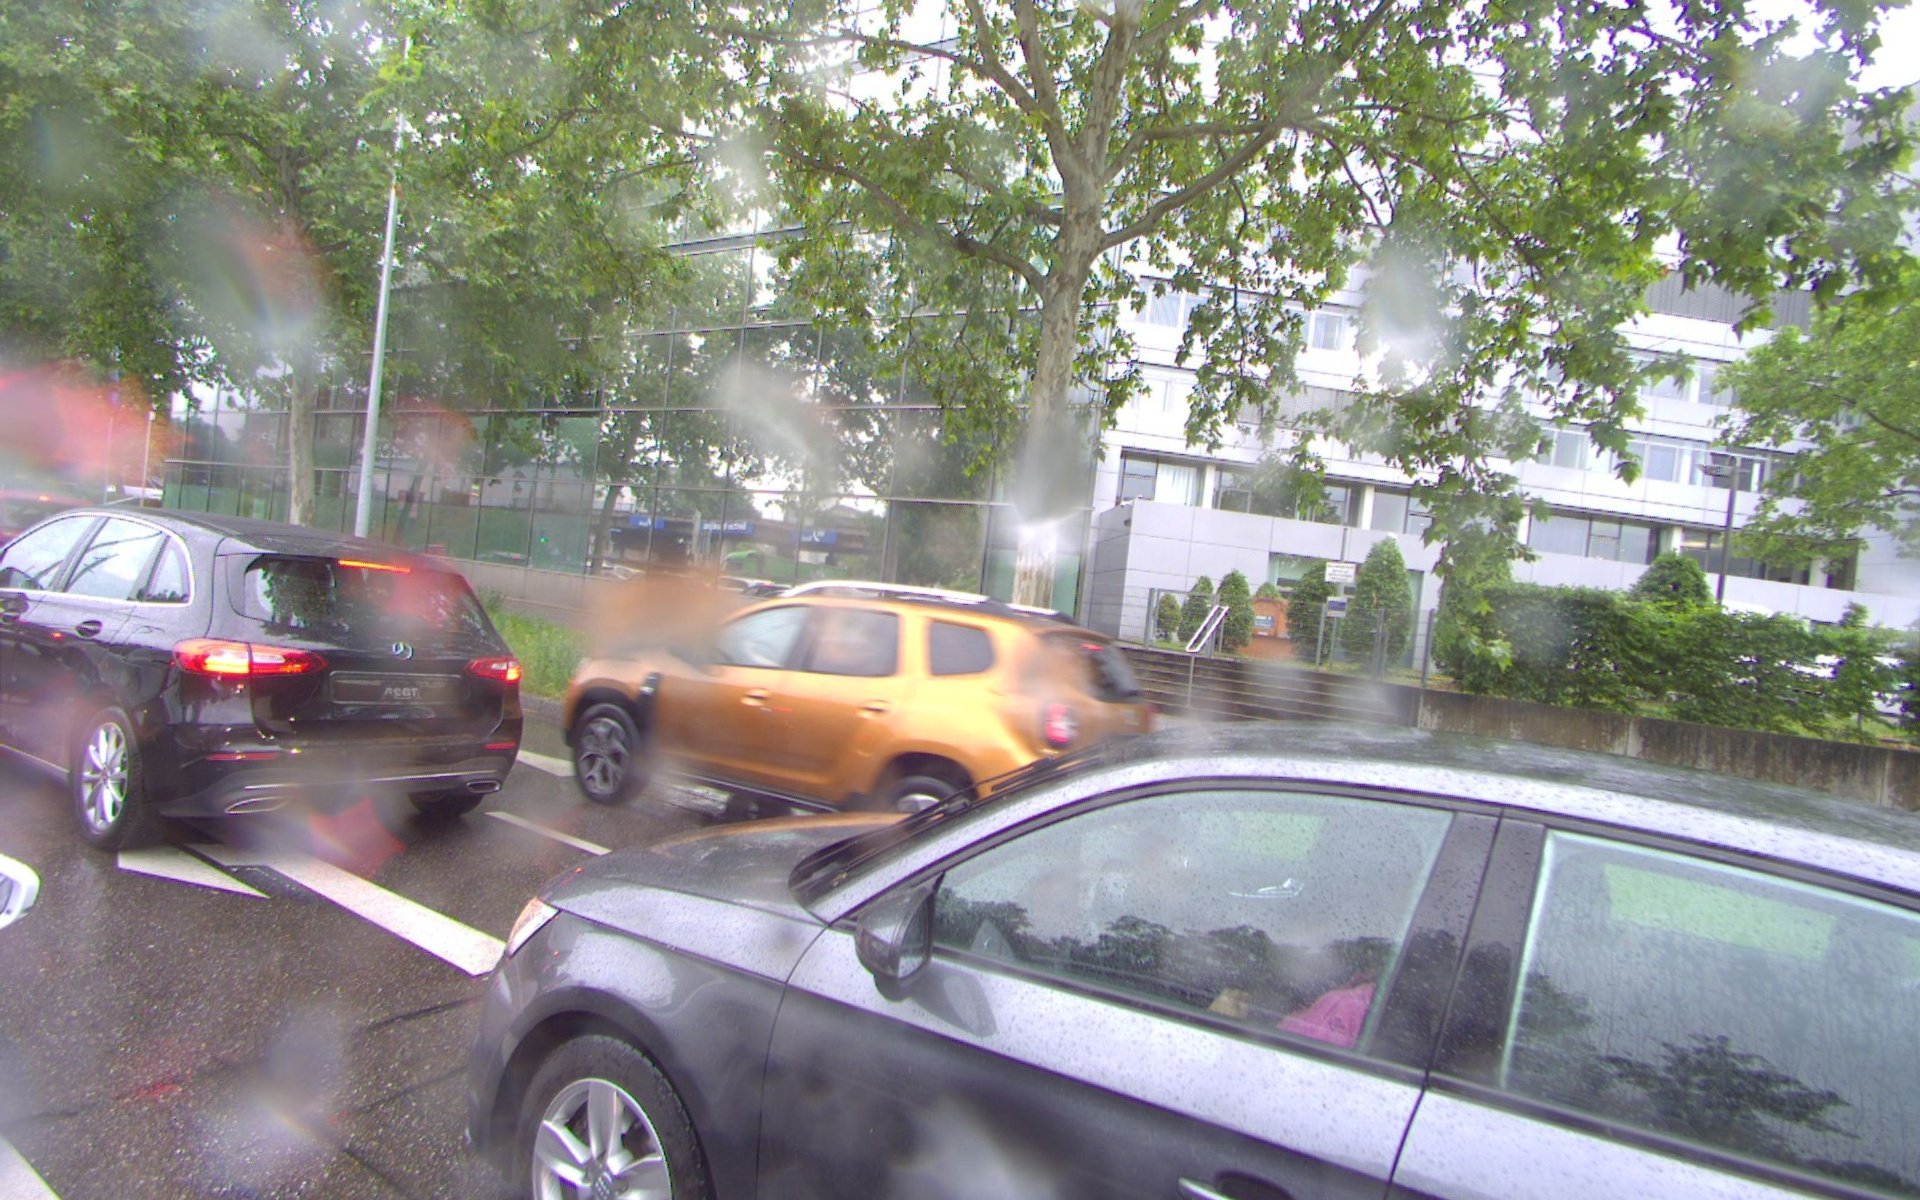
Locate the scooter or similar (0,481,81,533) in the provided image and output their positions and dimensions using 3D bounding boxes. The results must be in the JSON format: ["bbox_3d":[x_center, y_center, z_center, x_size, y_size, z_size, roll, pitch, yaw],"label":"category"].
[{"bbox_3d":[-54.535,-5.514,58.139,5.228,2.476,1.893,7,0,-9],"label":"scooter or similar"}]

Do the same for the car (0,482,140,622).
[{"bbox_3d":[-14.075,-0.801,14.793,4.201,1.714,1.714,6,-2,32],"label":"car"}]

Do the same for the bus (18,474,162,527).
[{"bbox_3d":[-82.702,-9.389,96.118,2.436,3.465,12.012,7,0,4],"label":"bus"}]

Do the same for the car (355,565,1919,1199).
[{"bbox_3d":[0.668,0.897,2.101,3.718,1.445,1.679,7,-1,31],"label":"car"}]

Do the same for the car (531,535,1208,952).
[{"bbox_3d":[-0.711,0.716,6.637,4.079,1.704,1.679,8,-2,32],"label":"car"}]

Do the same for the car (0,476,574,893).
[{"bbox_3d":[-4.346,0.251,5.756,4.022,1.573,1.751,7,-1,31],"label":"car"}]

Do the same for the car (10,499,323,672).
[{"bbox_3d":[-8.977,-0.176,11.348,3.332,1.480,1.572,7,-1,31],"label":"car"}]
